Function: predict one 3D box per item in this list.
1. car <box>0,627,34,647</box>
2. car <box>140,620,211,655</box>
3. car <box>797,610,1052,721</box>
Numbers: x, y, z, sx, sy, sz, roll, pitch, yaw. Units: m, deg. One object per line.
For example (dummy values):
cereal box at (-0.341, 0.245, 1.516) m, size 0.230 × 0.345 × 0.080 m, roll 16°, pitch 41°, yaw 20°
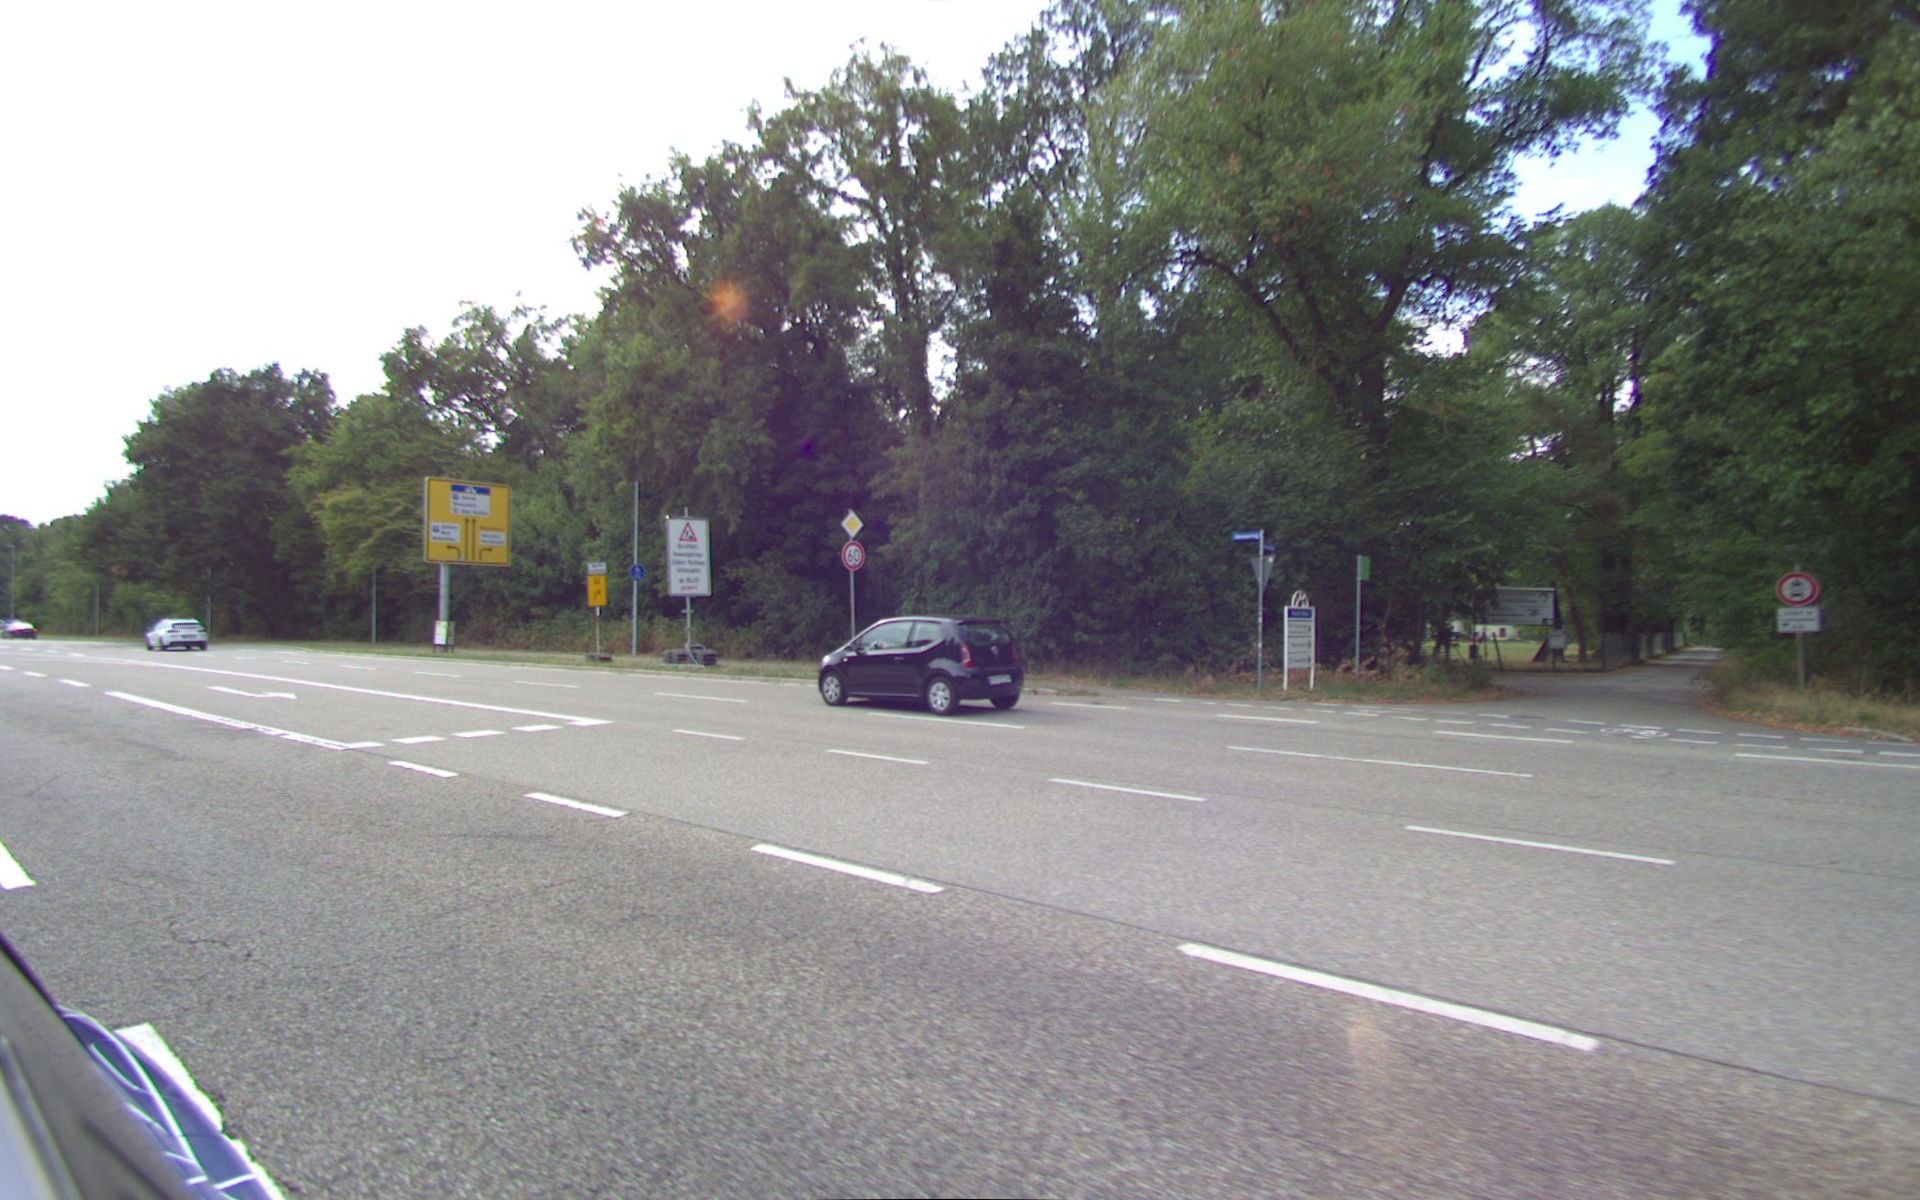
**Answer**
car at (-81.663, 3.163, 87.378) m, size 3.995 × 1.606 × 1.974 m, roll 0°, pitch 1°, yaw 39°
car at (-37.972, 1.757, 48.923) m, size 4.590 × 1.511 × 1.914 m, roll 0°, pitch 1°, yaw 42°
car at (-0.657, 0.924, 16.010) m, size 4.000 × 1.486 × 1.722 m, roll 0°, pitch 0°, yaw 43°
